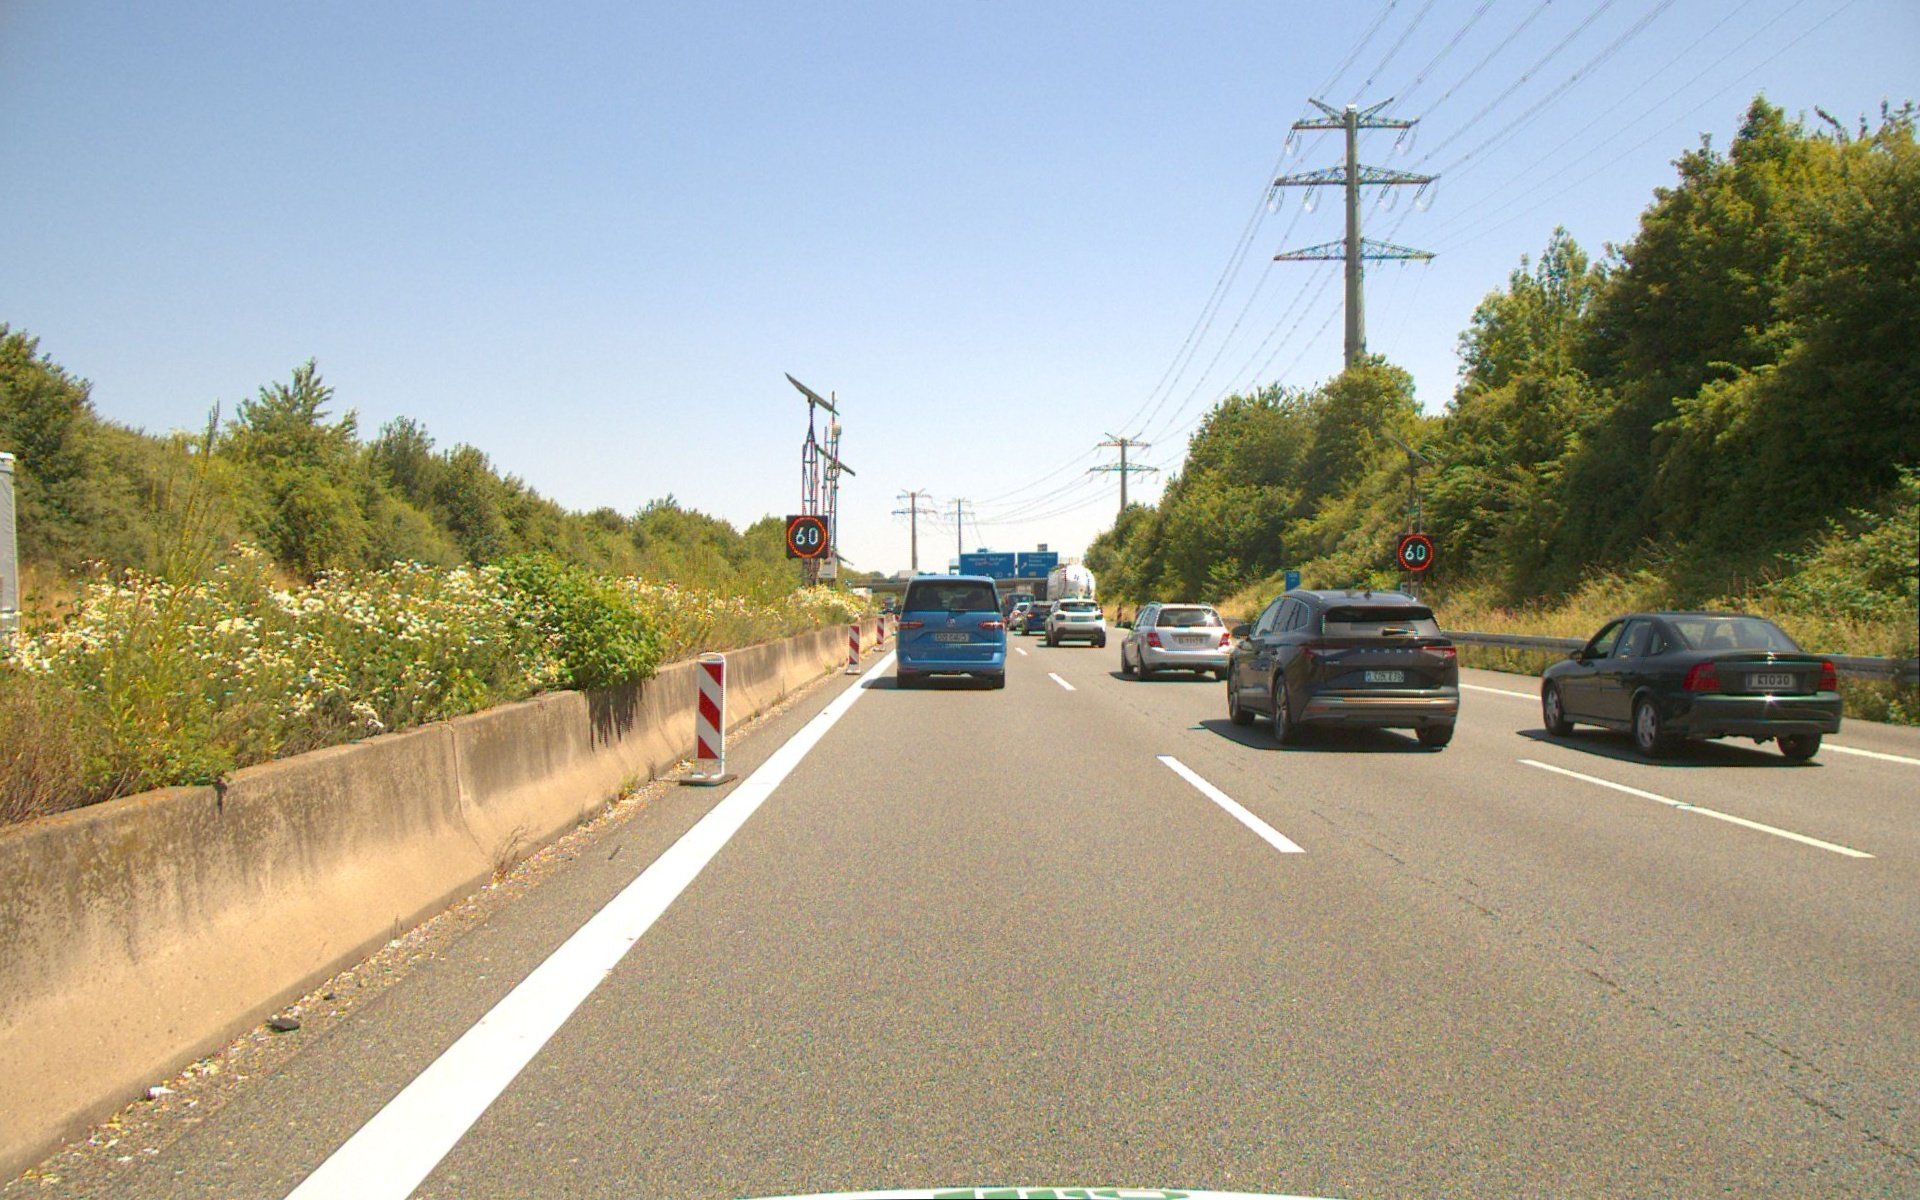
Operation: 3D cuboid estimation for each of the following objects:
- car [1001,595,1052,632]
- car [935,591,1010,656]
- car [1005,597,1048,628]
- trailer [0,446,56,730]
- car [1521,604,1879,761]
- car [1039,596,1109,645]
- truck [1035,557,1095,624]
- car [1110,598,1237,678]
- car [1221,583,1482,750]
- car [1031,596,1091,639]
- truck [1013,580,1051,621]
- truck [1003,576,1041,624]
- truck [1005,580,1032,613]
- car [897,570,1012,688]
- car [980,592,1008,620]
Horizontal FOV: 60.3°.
[{"bbox_3d":[2.869,0.555,72.303,1.870,1.542,4.381,1,0,-2],"label":"car"},{"bbox_3d":[0.287,0.601,44.508,1.870,1.659,4.382,0,0,-2],"label":"car"},{"bbox_3d":[3.402,0.622,85.141,1.870,1.542,4.381,1,0,-2],"label":"car"},{"bbox_3d":[-15.712,-0.091,18.889,2.955,4.239,14.018,-3,0,0],"label":"trailer"},{"bbox_3d":[7.545,0.769,17.368,1.699,1.402,4.300,1,0,-2],"label":"car"},{"bbox_3d":[3.738,0.649,54.662,1.870,1.534,3.920,1,0,-2],"label":"car"},{"bbox_3d":[6.927,-0.598,111.636,2.591,4.143,16.436,1,0,-1],"label":"truck"},{"bbox_3d":[4.142,0.702,32.706,1.784,1.462,4.381,1,0,-2],"label":"car"},{"bbox_3d":[4.234,0.644,18.616,1.791,1.642,4.430,0,0,-1],"label":"car"},{"bbox_3d":[3.914,0.652,64.710,1.870,1.597,4.381,1,0,-2],"label":"car"},{"bbox_3d":[6.512,0.045,151.895,2.591,3.600,12.548,1,0,-1],"label":"truck"},{"bbox_3d":[3.718,0.018,100.032,1.953,2.771,5.678,1,0,-1],"label":"truck"},{"bbox_3d":[7.965,-0.438,225.271,2.878,4.366,12.548,1,0,-1],"label":"truck"},{"bbox_3d":[-0.170,0.476,29.385,1.833,1.912,4.381,1,0,-3],"label":"car"},{"bbox_3d":[2.575,0.430,126.101,1.953,2.049,3.999,1,0,-1],"label":"car"}]
